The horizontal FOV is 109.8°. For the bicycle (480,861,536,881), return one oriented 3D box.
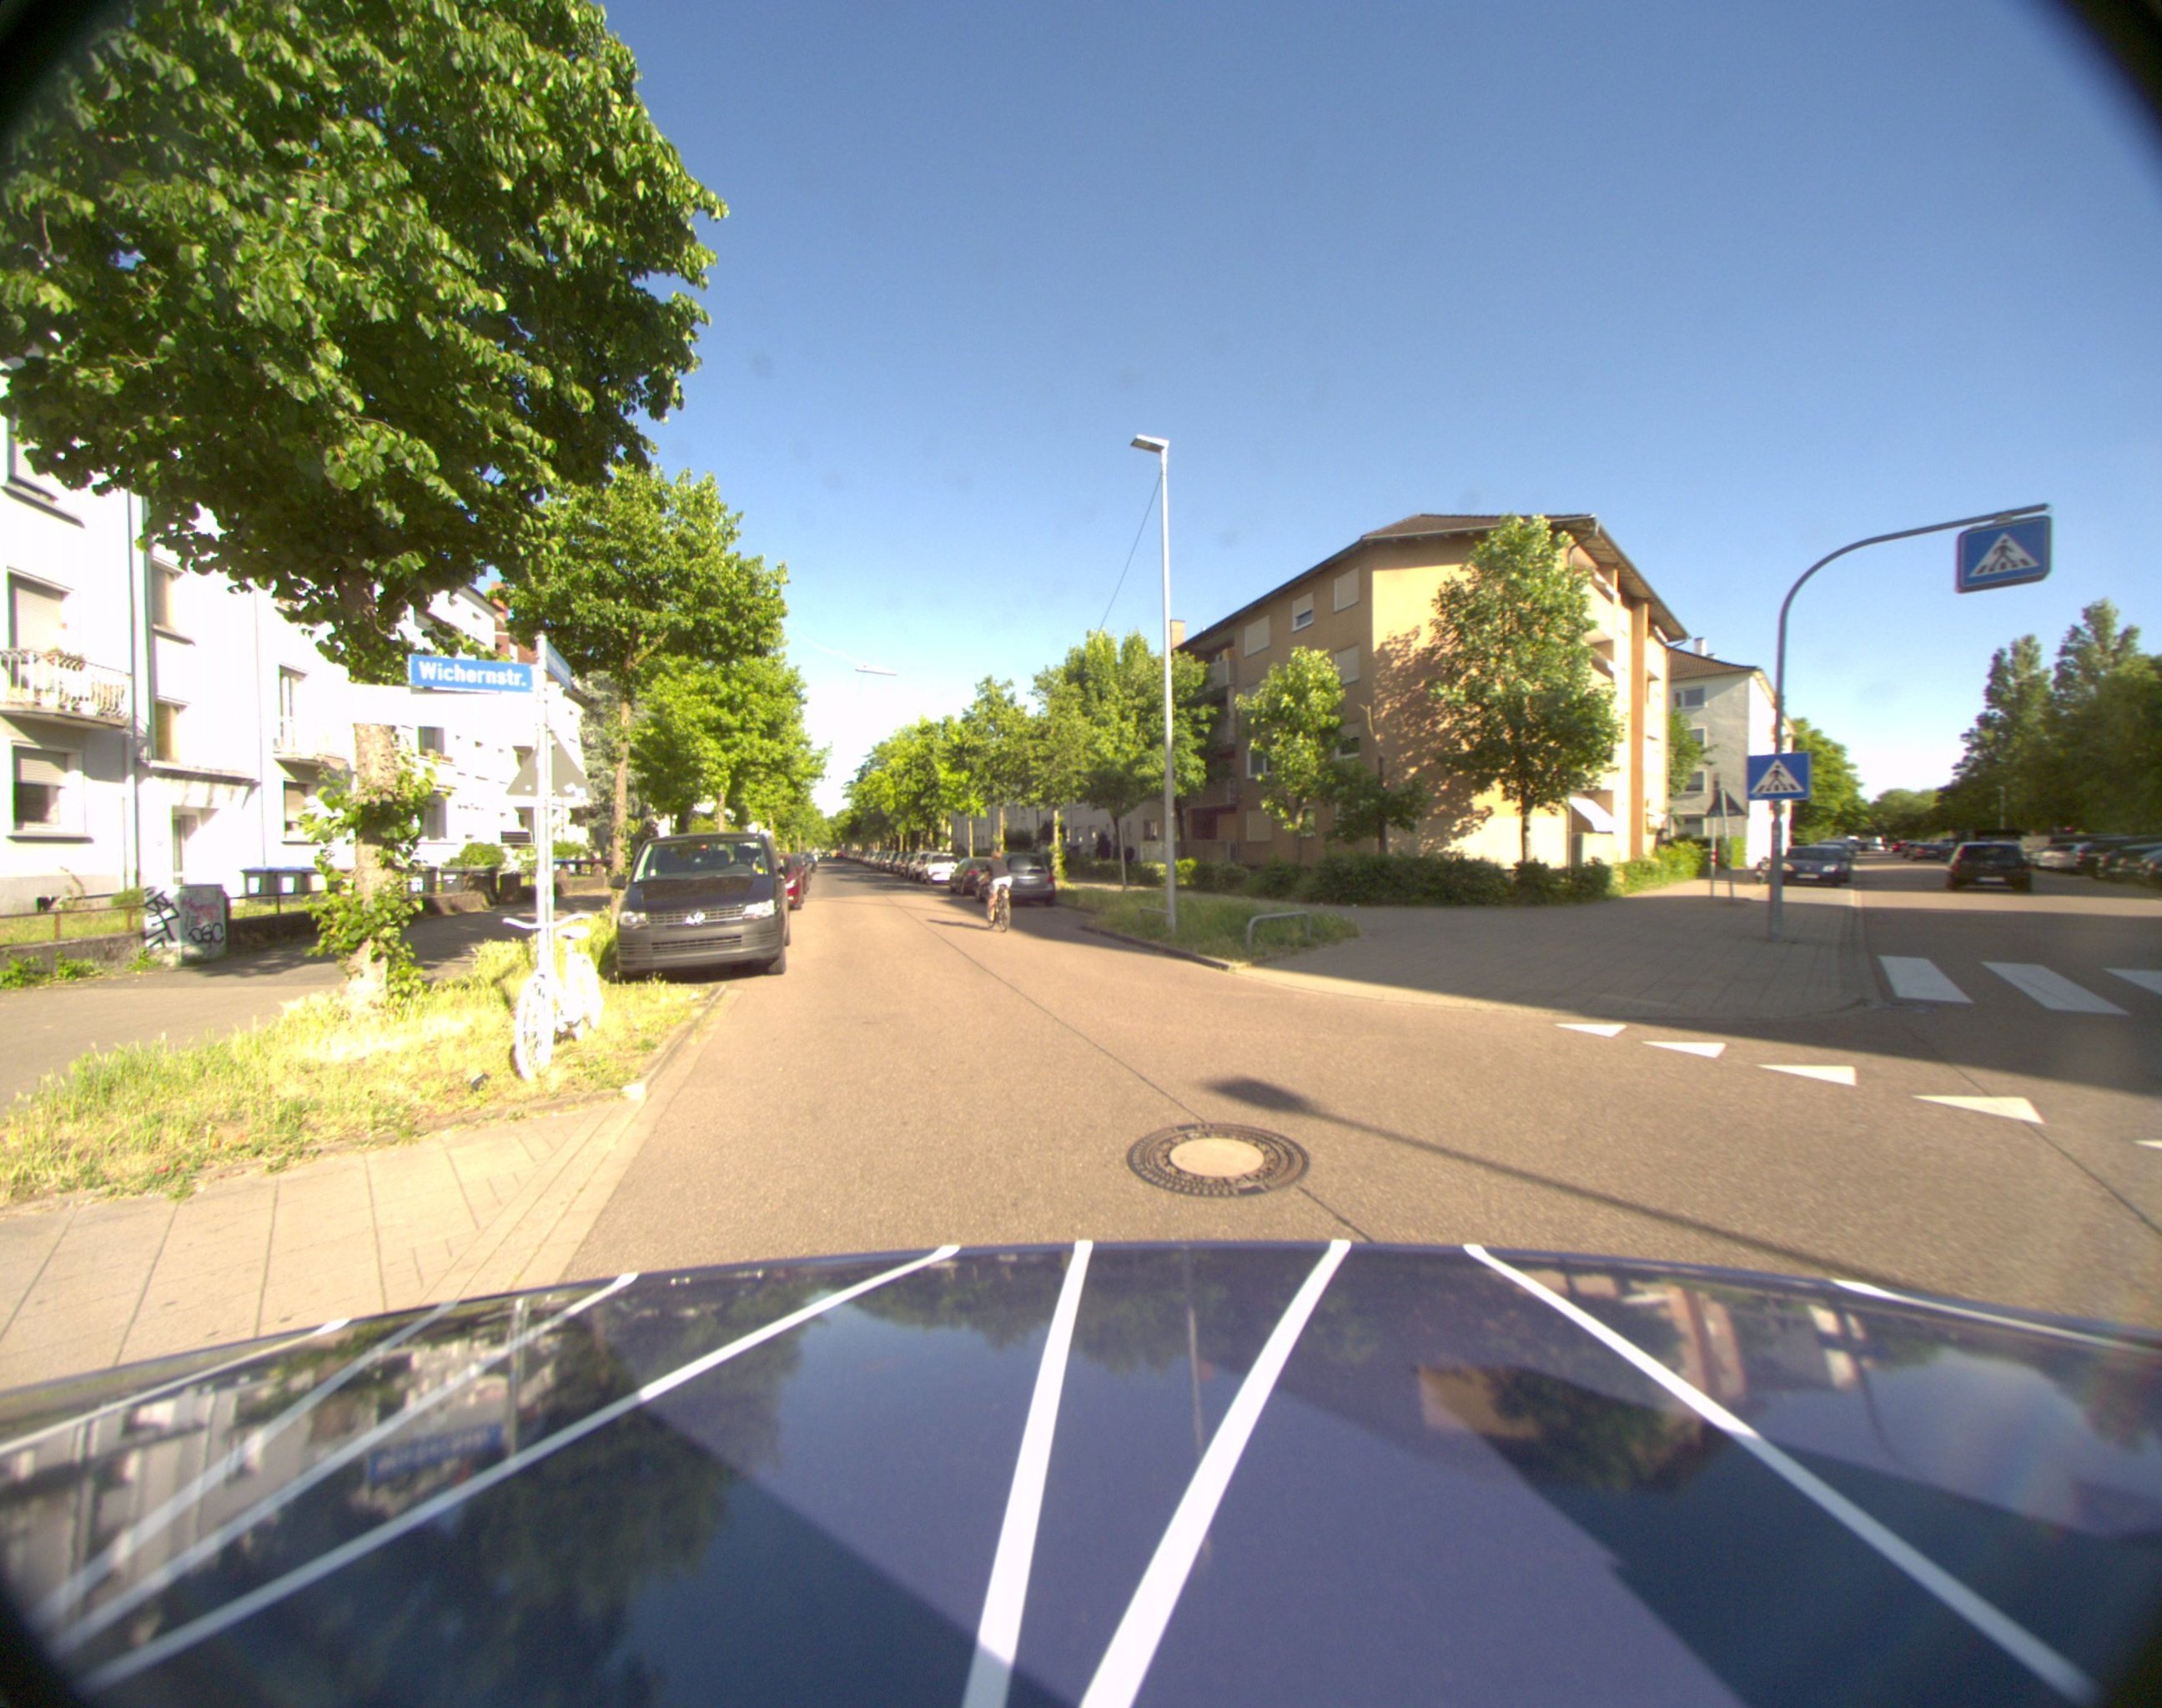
[{"bbox_3d":[-27.175,0.819,36.067,2.038,0.913,0.558,0,2,-14],"label":"bicycle"}]

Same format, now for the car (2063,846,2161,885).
[{"bbox_3d":[39.483,0.402,27.740,3.990,1.303,2.003,-1,2,25],"label":"car"}]

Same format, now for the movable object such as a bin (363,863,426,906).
[{"bbox_3d":[-18.014,0.779,19.956,0.778,1.021,1.008,-3,2,-14],"label":"movable object such as a bin"}]

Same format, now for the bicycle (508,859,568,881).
[{"bbox_3d":[-24.536,0.707,34.372,2.068,0.765,0.625,-5,3,-18],"label":"bicycle"}]

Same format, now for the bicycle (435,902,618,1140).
[{"bbox_3d":[-3.785,1.019,5.363,0.530,1.187,2.026,-2,2,-22],"label":"bicycle"}]

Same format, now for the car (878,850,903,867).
[{"bbox_3d":[-17.137,0.369,68.194,1.882,1.367,4.175,0,1,-19],"label":"car"}]

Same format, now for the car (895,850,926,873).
[{"bbox_3d":[-11.845,0.501,52.548,1.656,1.437,3.960,0,1,-19],"label":"car"}]

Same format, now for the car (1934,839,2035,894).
[{"bbox_3d":[30.034,0.372,25.382,1.738,1.521,4.121,0,3,44],"label":"car"}]

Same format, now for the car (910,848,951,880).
[{"bbox_3d":[-8.462,0.502,42.456,1.710,1.670,4.216,0,1,-19],"label":"car"}]

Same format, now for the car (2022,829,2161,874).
[{"bbox_3d":[49.834,-0.122,37.370,3.990,2.002,2.003,-1,3,27],"label":"car"}]

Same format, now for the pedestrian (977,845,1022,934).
[{"bbox_3d":[-1.611,0.665,14.939,0.692,1.631,1.045,-3,2,-13],"label":"pedestrian"}]

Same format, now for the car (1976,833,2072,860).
[{"bbox_3d":[68.306,-0.536,55.132,3.988,1.828,2.003,-1,3,38],"label":"car"}]

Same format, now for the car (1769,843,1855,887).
[{"bbox_3d":[27.161,0.355,28.357,1.903,1.506,4.008,1,2,38],"label":"car"}]

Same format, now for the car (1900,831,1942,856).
[{"bbox_3d":[67.581,-0.847,61.092,4.006,1.828,1.994,-4,3,-38],"label":"car"}]

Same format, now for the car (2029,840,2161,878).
[{"bbox_3d":[47.956,0.240,35.588,3.989,1.631,2.003,-1,3,32],"label":"car"}]

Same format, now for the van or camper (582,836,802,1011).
[{"bbox_3d":[-5.341,0.708,11.249,1.997,1.852,5.377,-3,2,-18],"label":"van or camper"}]

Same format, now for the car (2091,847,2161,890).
[{"bbox_3d":[37.160,0.455,25.169,3.990,1.303,2.003,-1,2,25],"label":"car"}]

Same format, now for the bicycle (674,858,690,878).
[{"bbox_3d":[-22.712,0.771,43.284,0.434,1.006,2.244,-7,4,-20],"label":"bicycle"}]

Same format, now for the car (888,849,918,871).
[{"bbox_3d":[-13.441,0.396,57.188,1.823,1.576,4.400,0,0,-19],"label":"car"}]

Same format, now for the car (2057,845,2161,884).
[{"bbox_3d":[41.919,0.358,29.815,3.992,1.248,2.002,-4,2,20],"label":"car"}]

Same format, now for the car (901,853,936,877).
[{"bbox_3d":[-10.326,0.664,48.012,1.664,1.384,4.229,-1,1,-19],"label":"car"}]

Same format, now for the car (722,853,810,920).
[{"bbox_3d":[-9.187,0.855,22.526,1.906,1.604,4.964,-2,2,-17],"label":"car"}]

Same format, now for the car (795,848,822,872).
[{"bbox_3d":[-21.061,0.447,58.640,1.771,1.627,4.007,-3,2,-20],"label":"car"}]

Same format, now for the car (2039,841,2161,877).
[{"bbox_3d":[46.005,0.213,33.645,3.990,1.390,2.003,-1,2,25],"label":"car"}]

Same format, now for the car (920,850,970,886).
[{"bbox_3d":[-6.774,0.651,37.477,1.723,1.518,3.992,-3,2,-19],"label":"car"}]

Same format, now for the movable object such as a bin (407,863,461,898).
[{"bbox_3d":[-17.231,0.702,20.255,0.778,0.858,0.764,-3,2,-14],"label":"movable object such as a bin"}]

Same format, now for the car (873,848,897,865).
[{"bbox_3d":[-18.987,0.204,73.508,1.882,1.553,4.175,0,1,-19],"label":"car"}]

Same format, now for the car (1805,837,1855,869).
[{"bbox_3d":[42.768,-0.080,43.450,1.840,1.747,4.008,2,2,43],"label":"car"}]

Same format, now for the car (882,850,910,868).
[{"bbox_3d":[-15.097,0.416,61.978,1.882,1.367,4.061,0,1,-19],"label":"car"}]

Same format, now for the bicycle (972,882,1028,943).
[{"bbox_3d":[-1.622,1.111,15.009,0.551,1.006,1.915,-2,2,-23],"label":"bicycle"}]

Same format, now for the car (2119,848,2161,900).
[{"bbox_3d":[32.707,0.540,21.182,3.991,1.394,2.002,-2,2,21],"label":"car"}]

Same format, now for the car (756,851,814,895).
[{"bbox_3d":[-11.933,0.730,30.855,1.938,1.558,4.585,1,1,-18],"label":"car"}]

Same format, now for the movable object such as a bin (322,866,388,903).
[{"bbox_3d":[-18.857,0.789,19.750,0.778,0.858,1.008,-3,2,-13],"label":"movable object such as a bin"}]

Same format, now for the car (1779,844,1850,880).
[{"bbox_3d":[30.923,0.302,32.143,1.994,1.237,4.007,-1,3,42],"label":"car"}]

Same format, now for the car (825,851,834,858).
[{"bbox_3d":[-54.848,0.147,165.721,1.771,1.486,3.776,-1,1,-20],"label":"car"}]

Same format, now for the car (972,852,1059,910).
[{"bbox_3d":[-2.127,0.759,23.528,1.727,1.553,4.100,0,1,-19],"label":"car"}]

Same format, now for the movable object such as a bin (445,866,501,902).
[{"bbox_3d":[-16.381,0.789,20.512,0.778,0.858,1.008,-3,2,-14],"label":"movable object such as a bin"}]

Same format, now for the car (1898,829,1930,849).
[{"bbox_3d":[81.483,-1.479,74.355,4.007,1.828,1.994,-4,3,-44],"label":"car"}]

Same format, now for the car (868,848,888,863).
[{"bbox_3d":[-22.637,0.129,84.590,1.771,1.487,4.008,-3,2,-19],"label":"car"}]

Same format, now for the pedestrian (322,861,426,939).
[{"bbox_3d":[-13.002,0.820,14.022,1.086,1.288,0.817,-3,3,-19],"label":"pedestrian"}]

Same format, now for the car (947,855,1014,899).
[{"bbox_3d":[-3.906,0.798,28.910,1.666,1.387,4.084,-3,2,-19],"label":"car"}]

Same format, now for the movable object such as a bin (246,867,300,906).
[{"bbox_3d":[-20.465,0.818,19.259,0.673,0.917,0.595,-3,2,-14],"label":"movable object such as a bin"}]

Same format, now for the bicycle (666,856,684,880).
[{"bbox_3d":[-21.831,0.721,40.874,0.491,1.190,2.171,-3,2,-19],"label":"bicycle"}]

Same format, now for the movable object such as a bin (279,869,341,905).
[{"bbox_3d":[-19.631,0.829,19.358,0.778,0.818,0.742,-3,2,-14],"label":"movable object such as a bin"}]

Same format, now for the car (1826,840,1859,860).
[{"bbox_3d":[68.801,-0.388,68.684,1.994,1.685,4.007,0,2,44],"label":"car"}]
